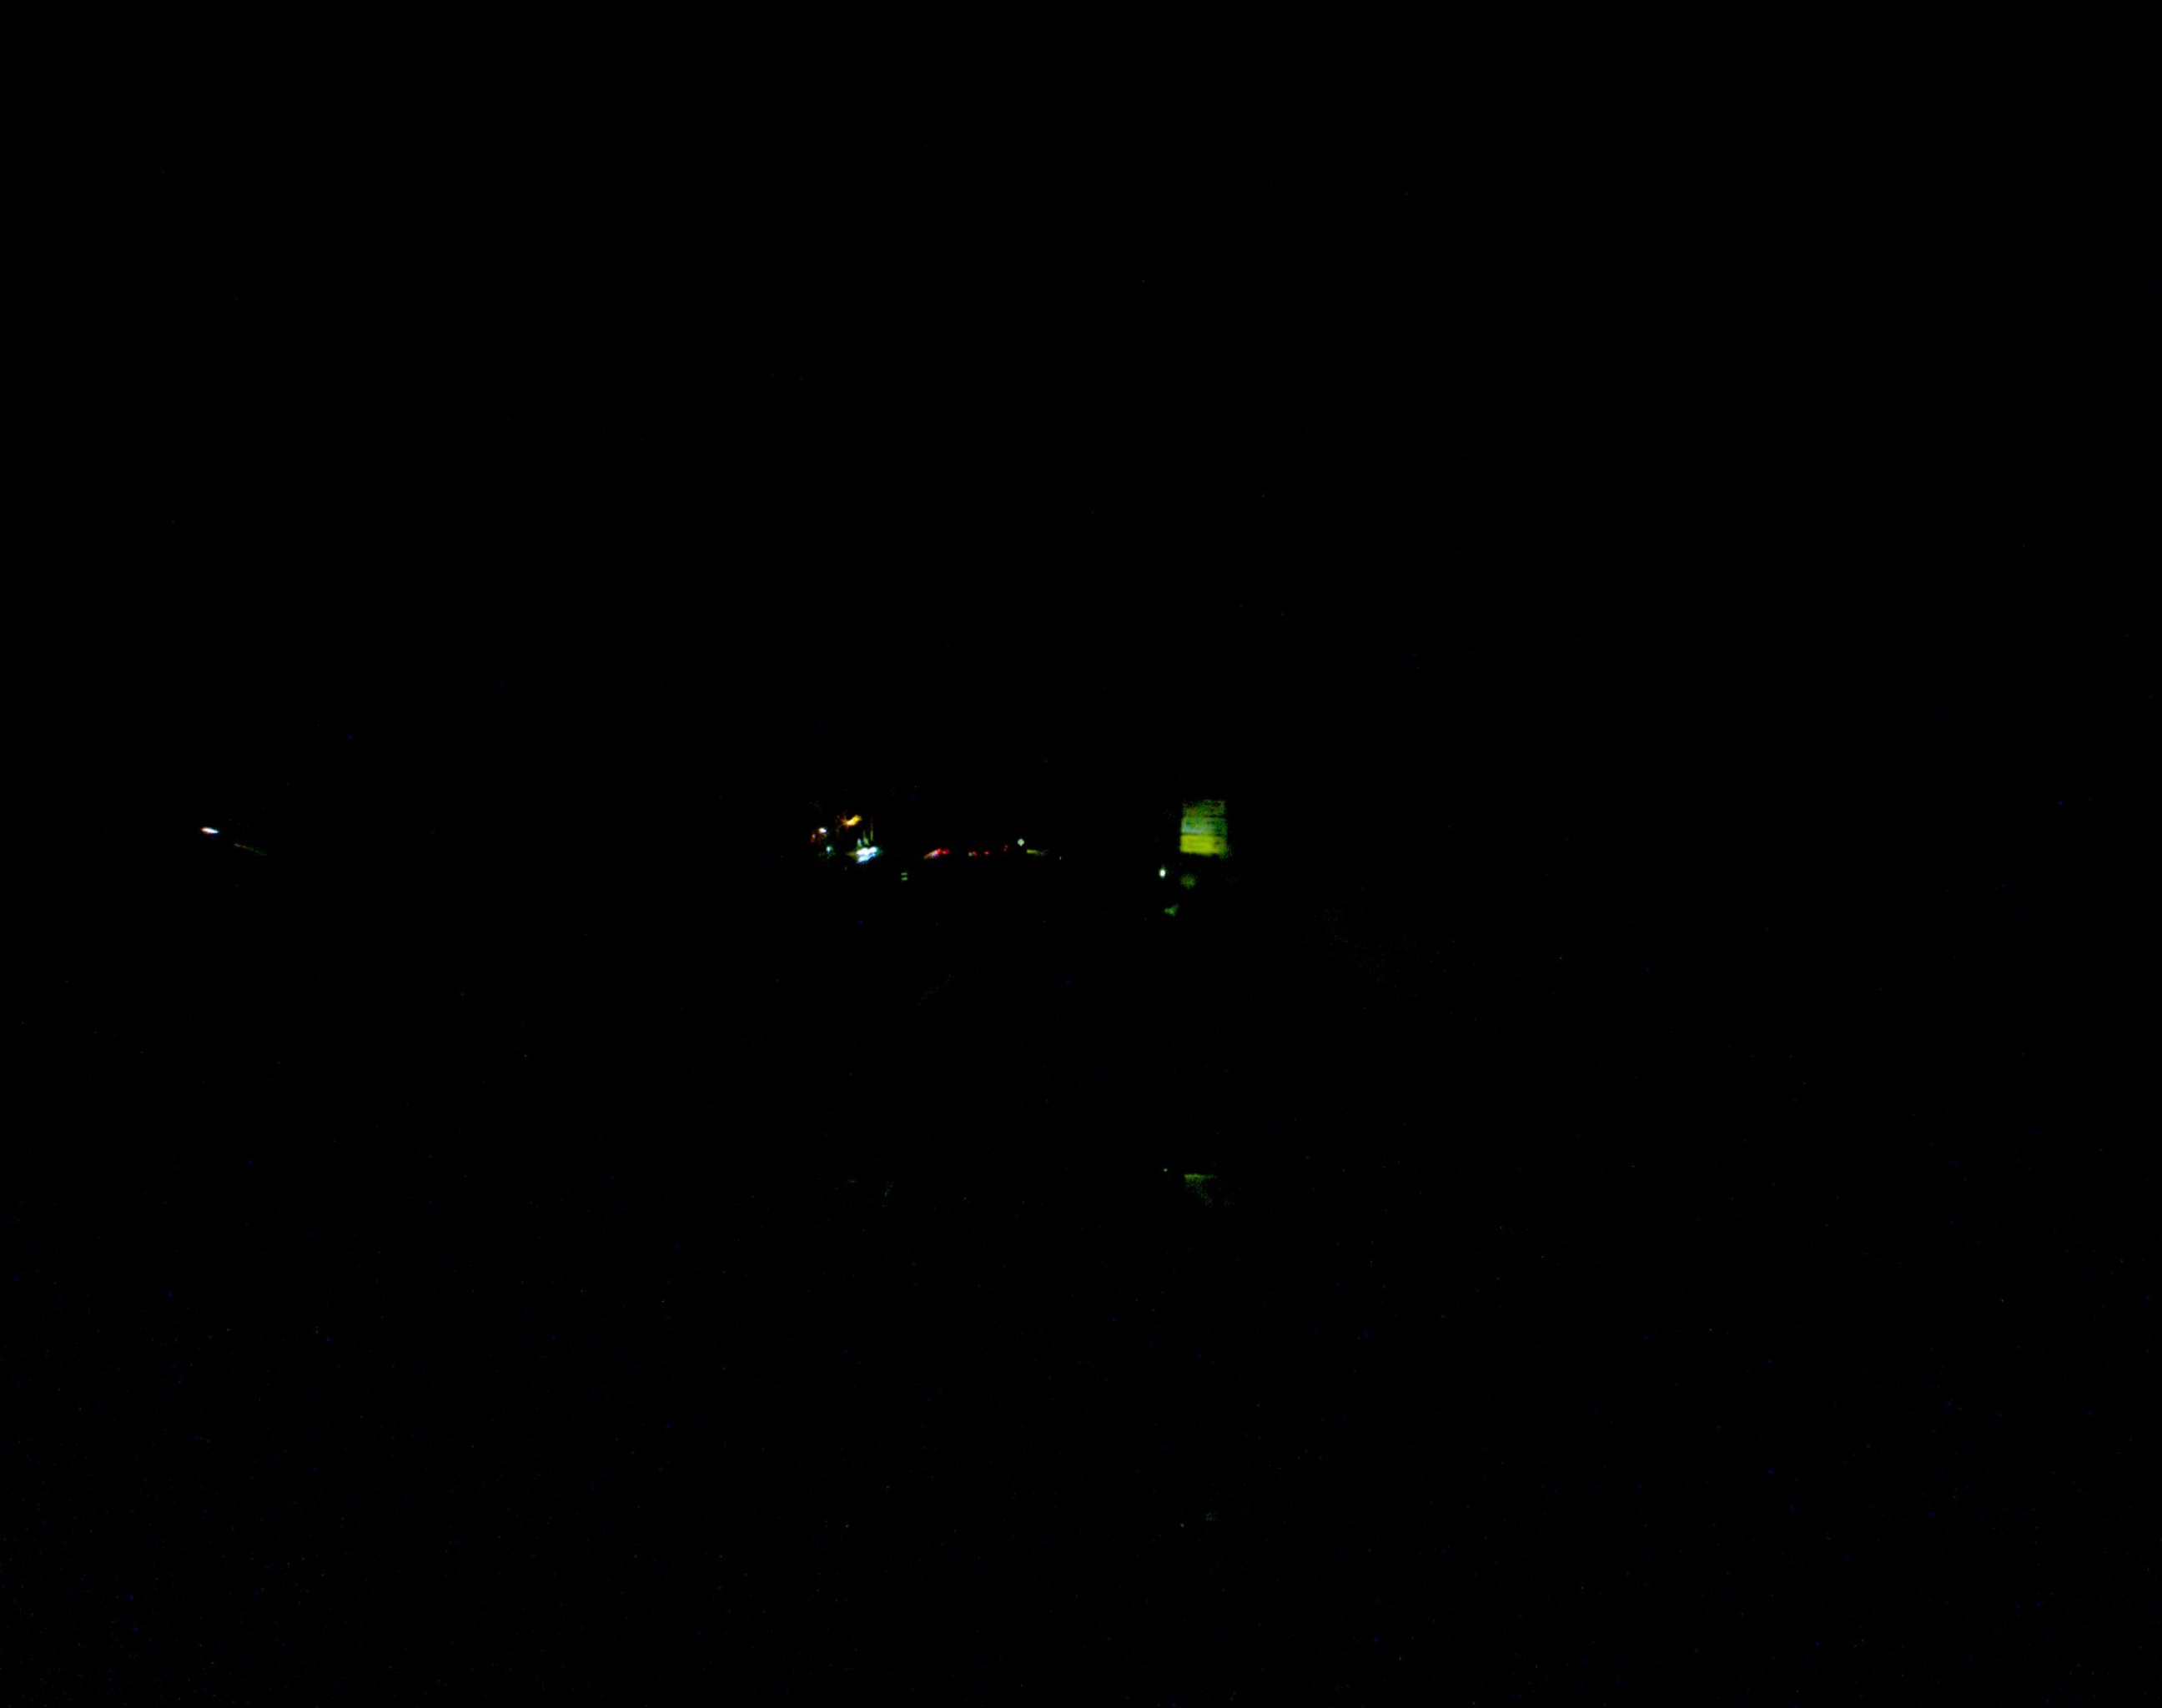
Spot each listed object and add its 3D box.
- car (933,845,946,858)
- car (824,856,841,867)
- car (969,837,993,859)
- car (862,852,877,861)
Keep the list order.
[{"bbox_3d":[-21.927,-0.352,125.964,1.994,2.014,3.986,0,-1,-10],"label":"car"},{"bbox_3d":[-37.036,1.053,121.431,1.687,1.398,4.140,-4,2,-7],"label":"car"},{"bbox_3d":[-12.594,-0.807,102.218,2.541,2.497,5.692,0,3,-13],"label":"car"},{"bbox_3d":[-38.642,0.428,148.972,1.965,1.522,4.364,0,-1,-24],"label":"car"}]
